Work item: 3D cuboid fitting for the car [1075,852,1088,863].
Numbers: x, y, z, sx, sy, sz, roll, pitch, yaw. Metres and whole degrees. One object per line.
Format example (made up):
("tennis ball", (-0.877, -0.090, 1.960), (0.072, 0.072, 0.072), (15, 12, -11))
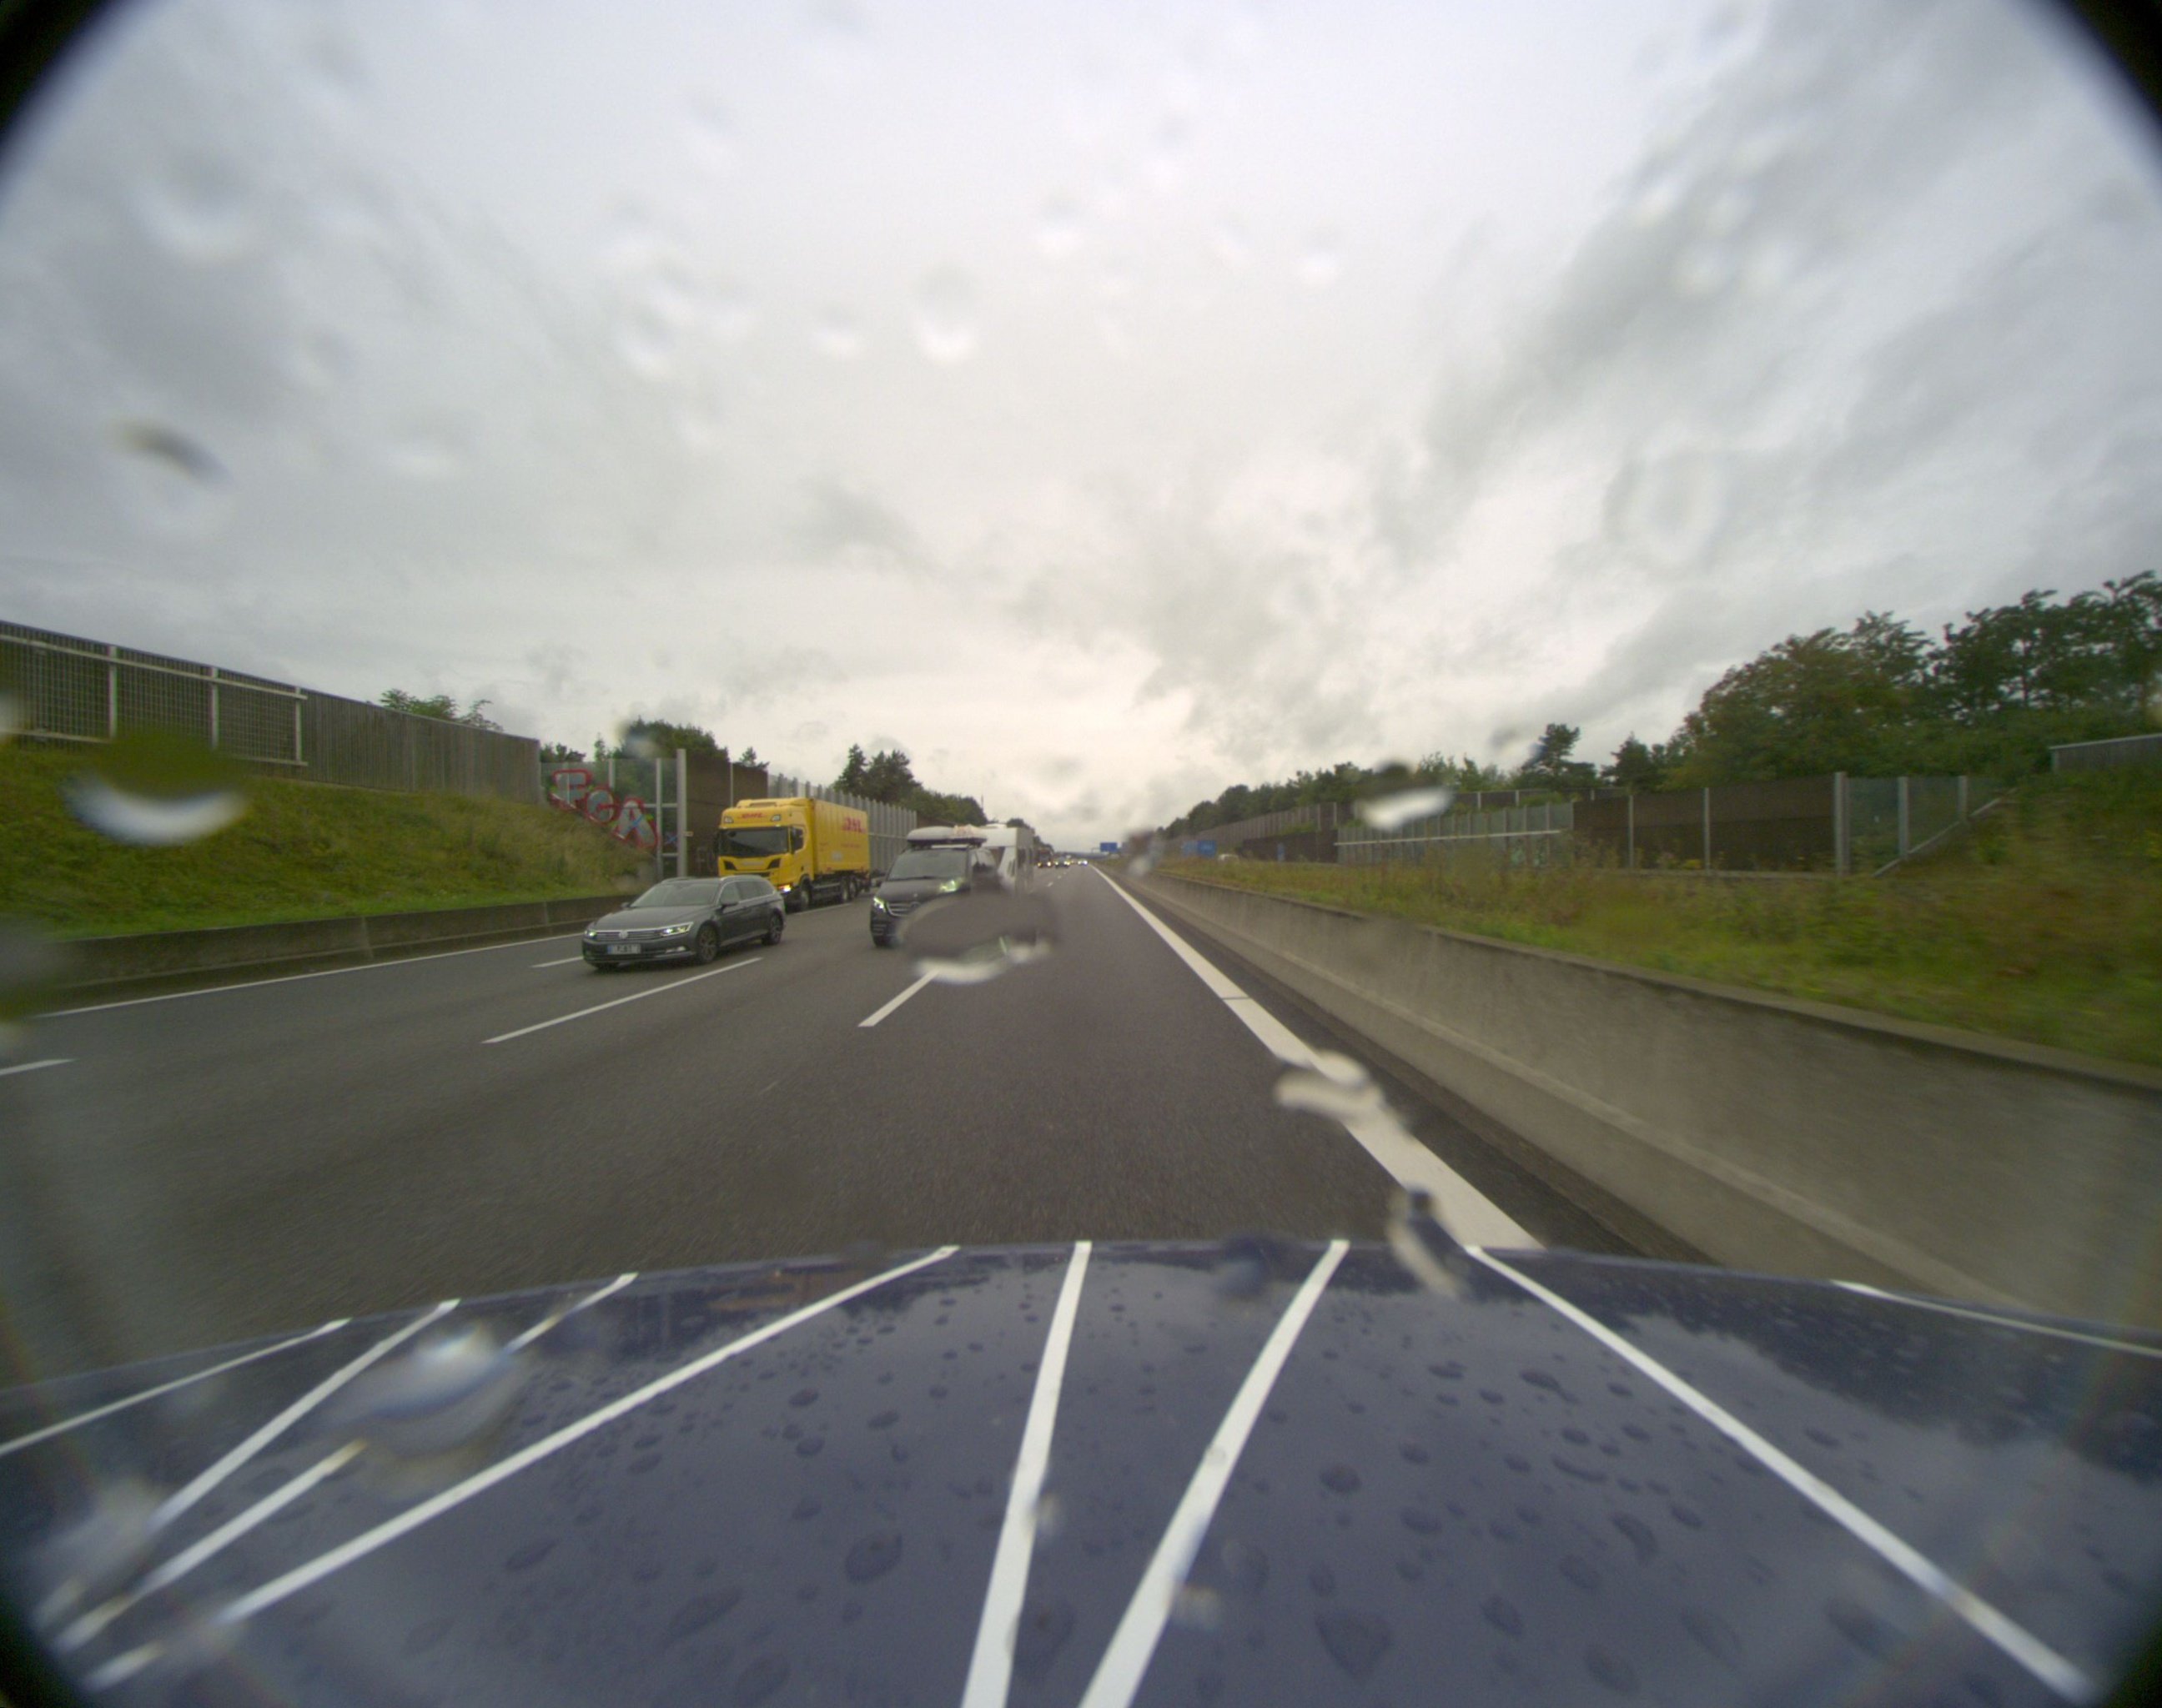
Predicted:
("car", (0.067, 0.729, 172.063), (2.680, 2.340, 5.807), (-1, 0, -2))

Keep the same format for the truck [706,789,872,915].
("truck", (-10.667, -0.072, 29.123), (2.692, 3.935, 9.325), (-3, 0, -1))

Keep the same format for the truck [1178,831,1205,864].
("truck", (17.162, -0.955, 118.158), (3.196, 4.830, 5.418), (-3, 1, -1))

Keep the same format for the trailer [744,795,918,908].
("trailer", (-10.732, -0.129, 35.580), (2.658, 3.930, 16.683), (-3, 0, -1))

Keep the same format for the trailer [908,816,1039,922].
("trailer", (-2.919, 0.387, 22.963), (2.728, 2.627, 7.512), (-1, 0, 1))

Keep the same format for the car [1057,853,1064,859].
("car", (-5.943, 0.478, 219.773), (1.998, 1.747, 4.000), (-2, 0, 0))

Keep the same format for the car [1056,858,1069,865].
("car", (-3.164, 1.295, 128.389), (2.061, 1.020, 3.438), (-3, 0, 0))

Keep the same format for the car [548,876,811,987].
("car", (-6.923, 1.228, 13.969), (1.944, 1.419, 5.289), (-3, 0, 0))

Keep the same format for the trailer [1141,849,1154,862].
("trailer", (19.190, 0.363, 221.304), (2.733, 3.662, 12.563), (-1, 0, 0))

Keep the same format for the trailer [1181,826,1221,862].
("trailer", (17.300, -1.399, 110.663), (3.225, 4.857, 13.524), (-3, 0, -1))

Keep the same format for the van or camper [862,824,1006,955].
("van or camper", (-2.893, 0.632, 16.308), (1.895, 2.256, 5.679), (-2, 0, 0))

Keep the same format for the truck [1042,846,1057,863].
("truck", (-6.301, 0.072, 151.732), (2.617, 3.218, 4.632), (-1, 0, 0))

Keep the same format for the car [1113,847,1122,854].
("car", (11.676, -1.167, 242.394), (2.380, 2.180, 7.723), (-1, 0, 0))

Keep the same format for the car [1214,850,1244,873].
("car", (14.008, 0.686, 72.180), (1.998, 2.002, 4.197), (-2, 0, 0))
